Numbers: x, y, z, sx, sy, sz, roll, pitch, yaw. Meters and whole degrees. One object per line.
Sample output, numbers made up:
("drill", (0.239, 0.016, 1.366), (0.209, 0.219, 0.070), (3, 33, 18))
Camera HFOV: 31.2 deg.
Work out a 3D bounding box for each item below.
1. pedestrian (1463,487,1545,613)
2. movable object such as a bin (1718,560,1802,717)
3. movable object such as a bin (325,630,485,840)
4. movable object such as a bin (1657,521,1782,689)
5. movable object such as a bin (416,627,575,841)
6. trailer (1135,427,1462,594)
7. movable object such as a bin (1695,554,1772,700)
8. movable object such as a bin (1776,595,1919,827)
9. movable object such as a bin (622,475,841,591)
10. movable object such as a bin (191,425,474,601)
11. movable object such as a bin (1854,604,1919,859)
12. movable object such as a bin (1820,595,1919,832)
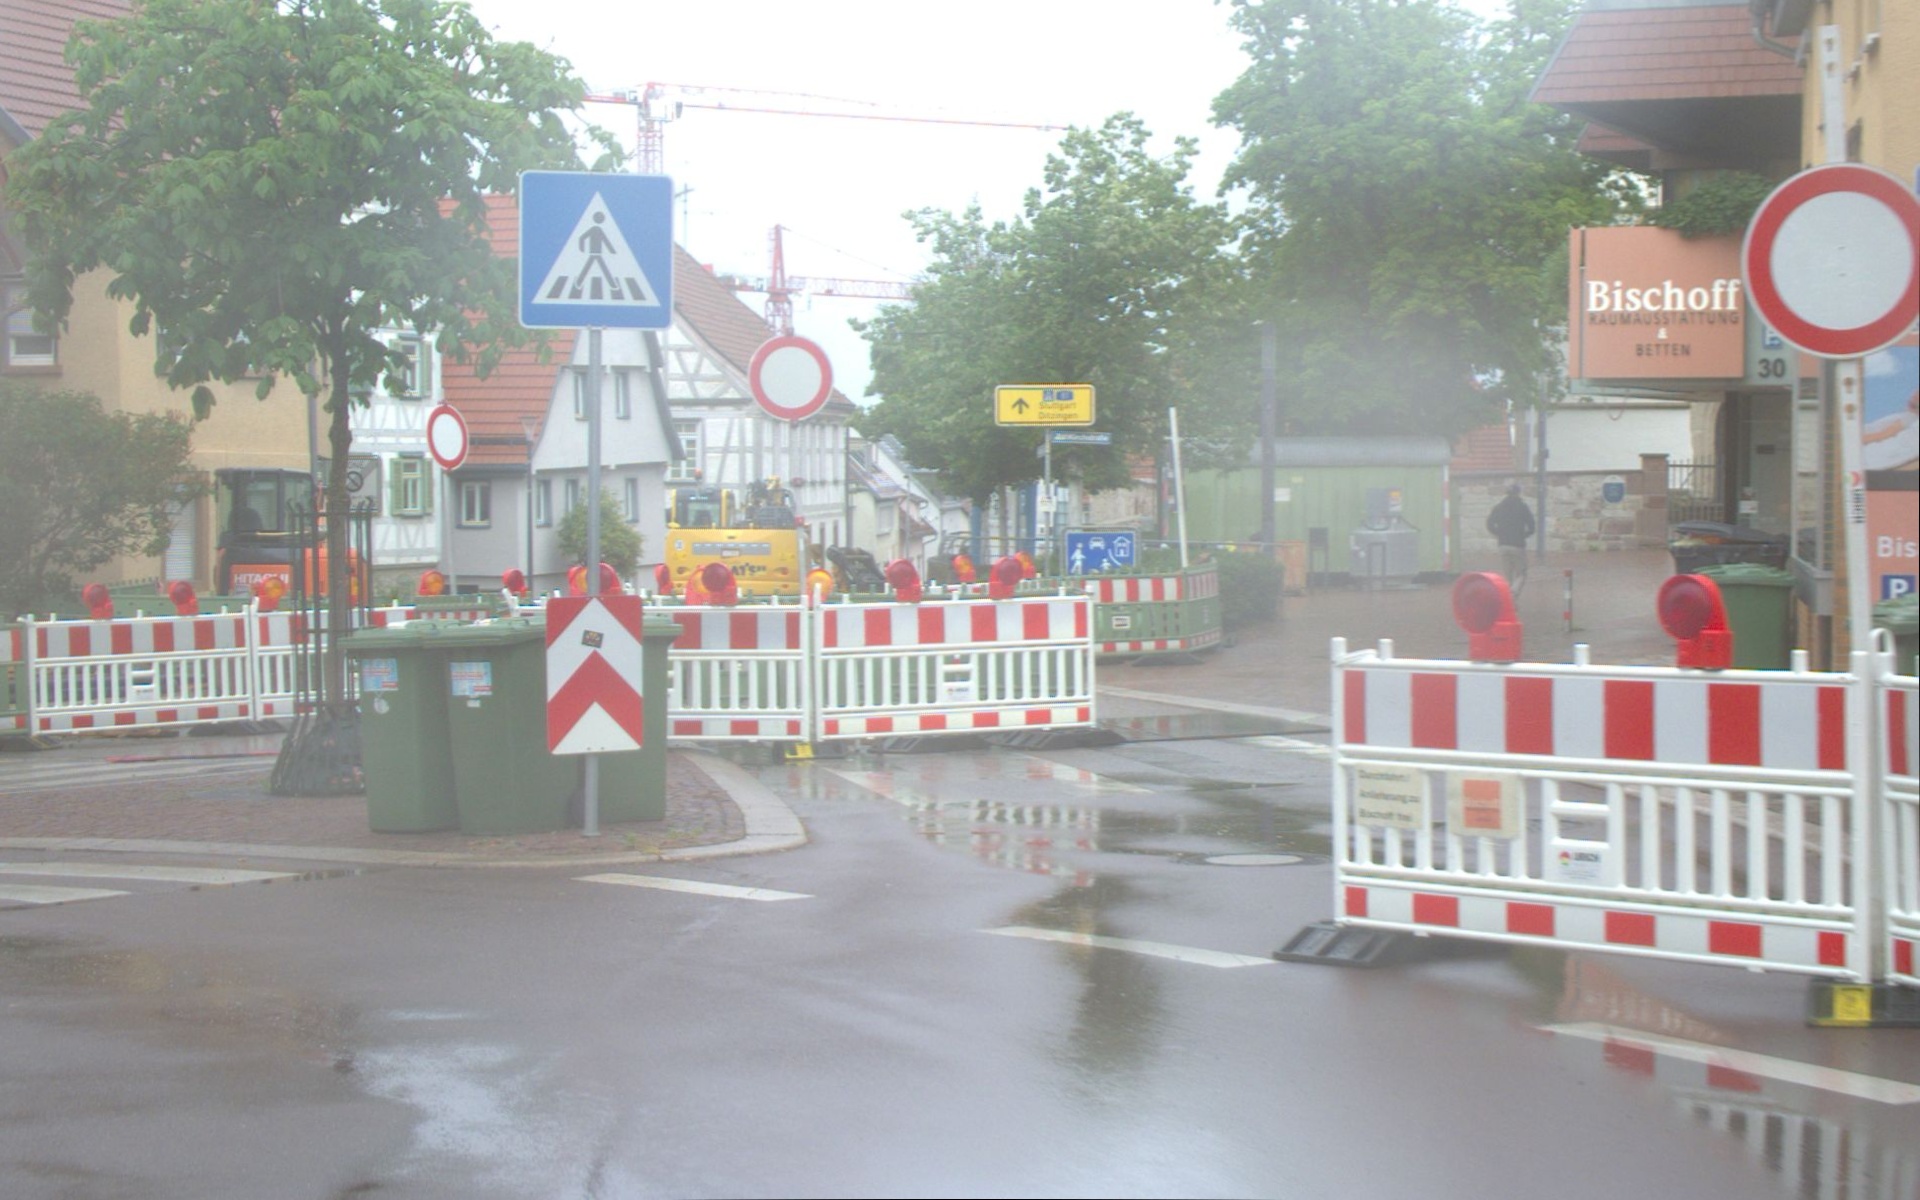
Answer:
("pedestrian", (7.691, -0.709, 48.651), (0.990, 1.753, 0.852), (1, 1, -1))
("movable object such as a bin", (6.001, 0.283, 25.801), (0.517, 1.128, 0.580), (-3, 2, 9))
("movable object such as a bin", (-2.799, 0.673, 17.350), (0.541, 1.033, 0.571), (-1, -1, 39))
("movable object such as a bin", (7.184, 0.034, 32.514), (1.066, 1.507, 1.241), (-3, 1, 13))
("movable object such as a bin", (-2.290, 0.653, 16.950), (0.544, 1.029, 0.533), (-2, -1, 39))
("trailer", (6.189, -1.636, 63.316), (5.781, 2.937, 2.000), (1, 1, 1))
("movable object such as a bin", (6.218, 0.210, 27.643), (0.516, 1.124, 0.580), (-3, 2, 9))
("movable object such as a bin", (4.317, 0.522, 16.439), (0.678, 1.062, 0.586), (-1, 2, 0))
("movable object such as a bin", (-4.116, -1.221, 62.693), (3.403, 2.007, 3.478), (1, 1, 7))
("movable object such as a bin", (-7.663, -1.044, 42.393), (1.906, 2.007, 3.998), (-2, 0, 14))
("movable object such as a bin", (4.329, 0.563, 15.033), (0.678, 1.062, 0.540), (-1, 3, -1))
("movable object such as a bin", (4.307, 0.513, 15.756), (0.617, 1.062, 0.539), (-1, 0, 22))
